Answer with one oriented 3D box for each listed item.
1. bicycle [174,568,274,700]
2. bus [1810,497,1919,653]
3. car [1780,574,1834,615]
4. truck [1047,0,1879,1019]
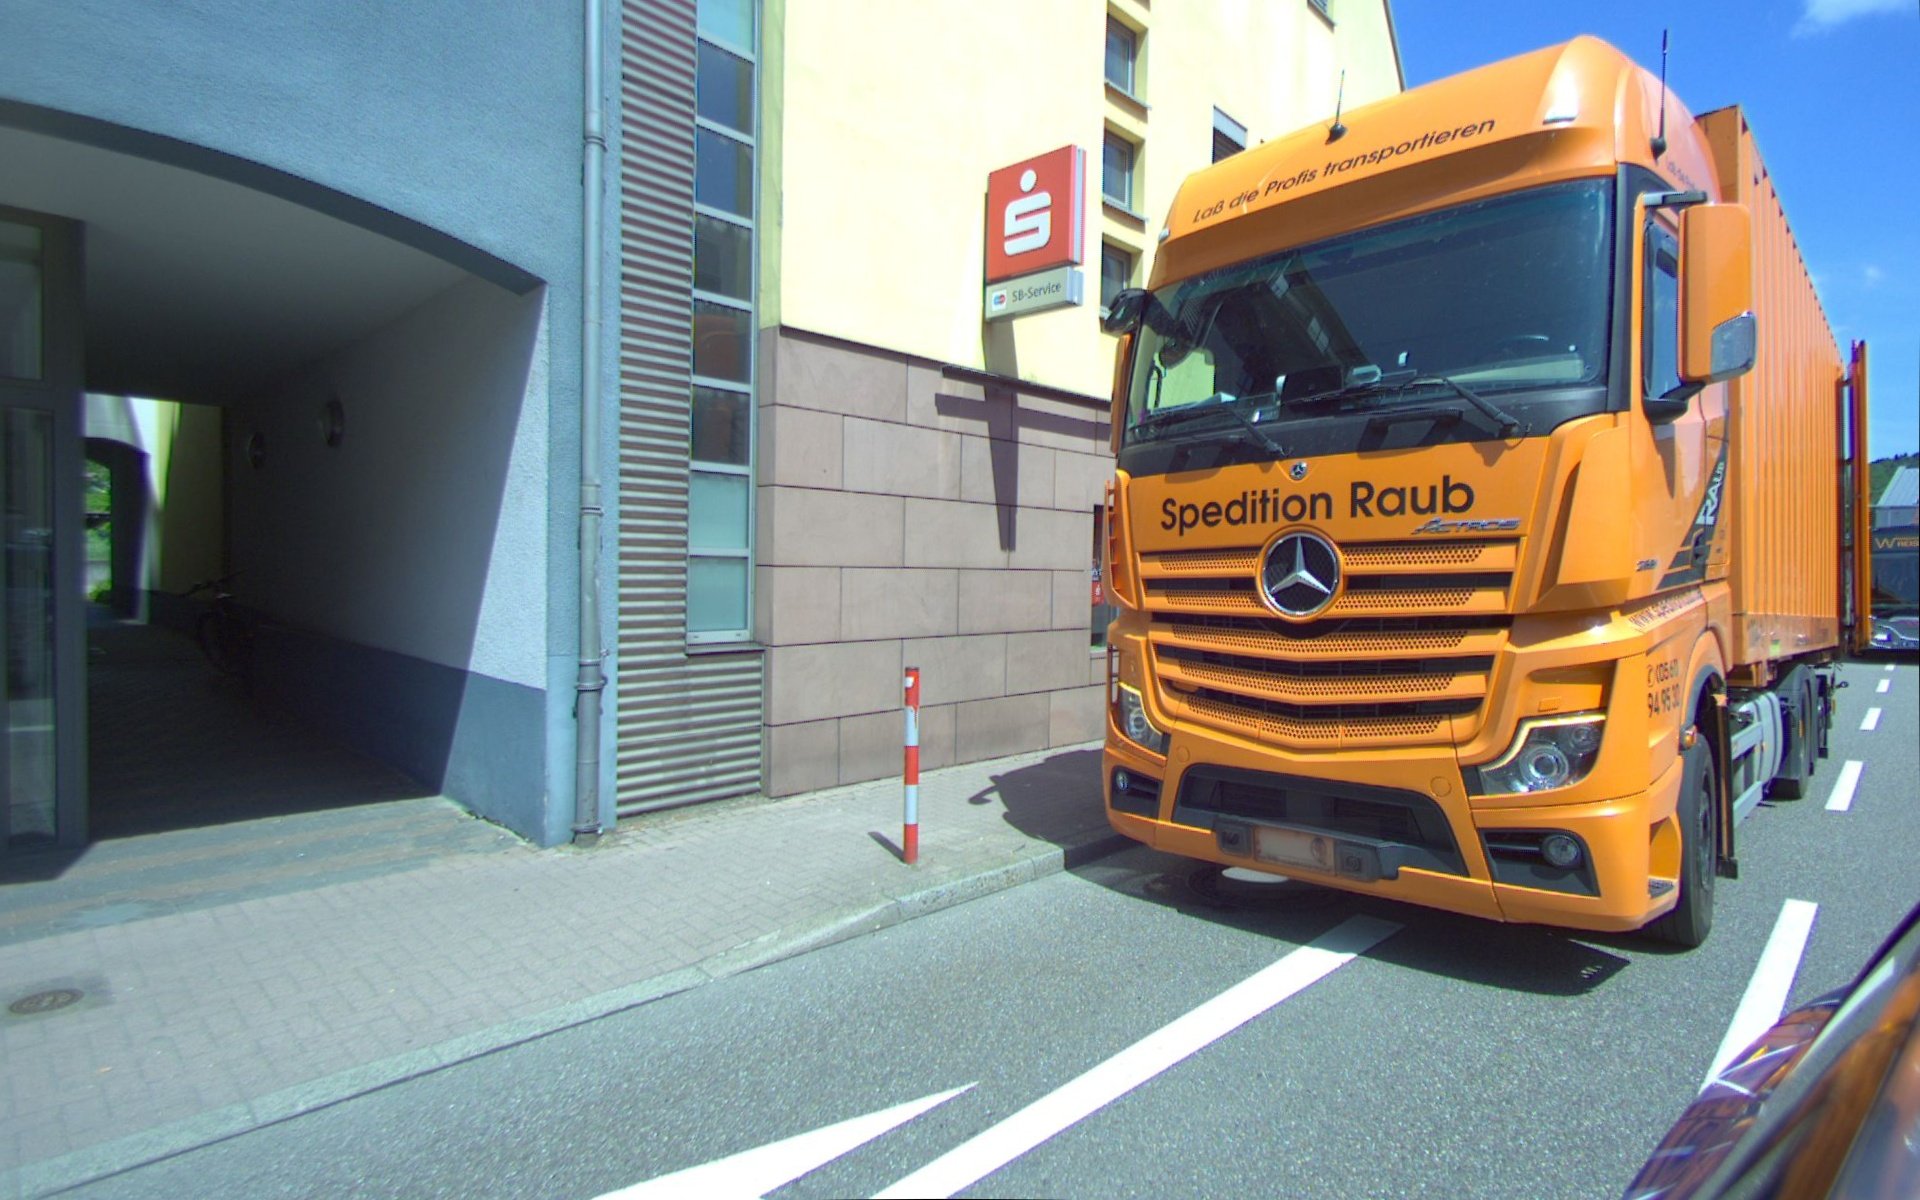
[{"bbox_3d":[-7.334,0.286,10.050,0.505,1.078,2.066,0,4,-44],"label":"bicycle"},{"bbox_3d":[26.047,-0.613,28.154,2.846,3.244,18.773,1,1,38],"label":"bus"},{"bbox_3d":[41.897,-0.306,50.125,1.779,1.852,4.293,4,4,38],"label":"car"},{"bbox_3d":[4.853,-0.576,7.733,9.827,3.996,2.610,1,-1,-44],"label":"truck"}]
